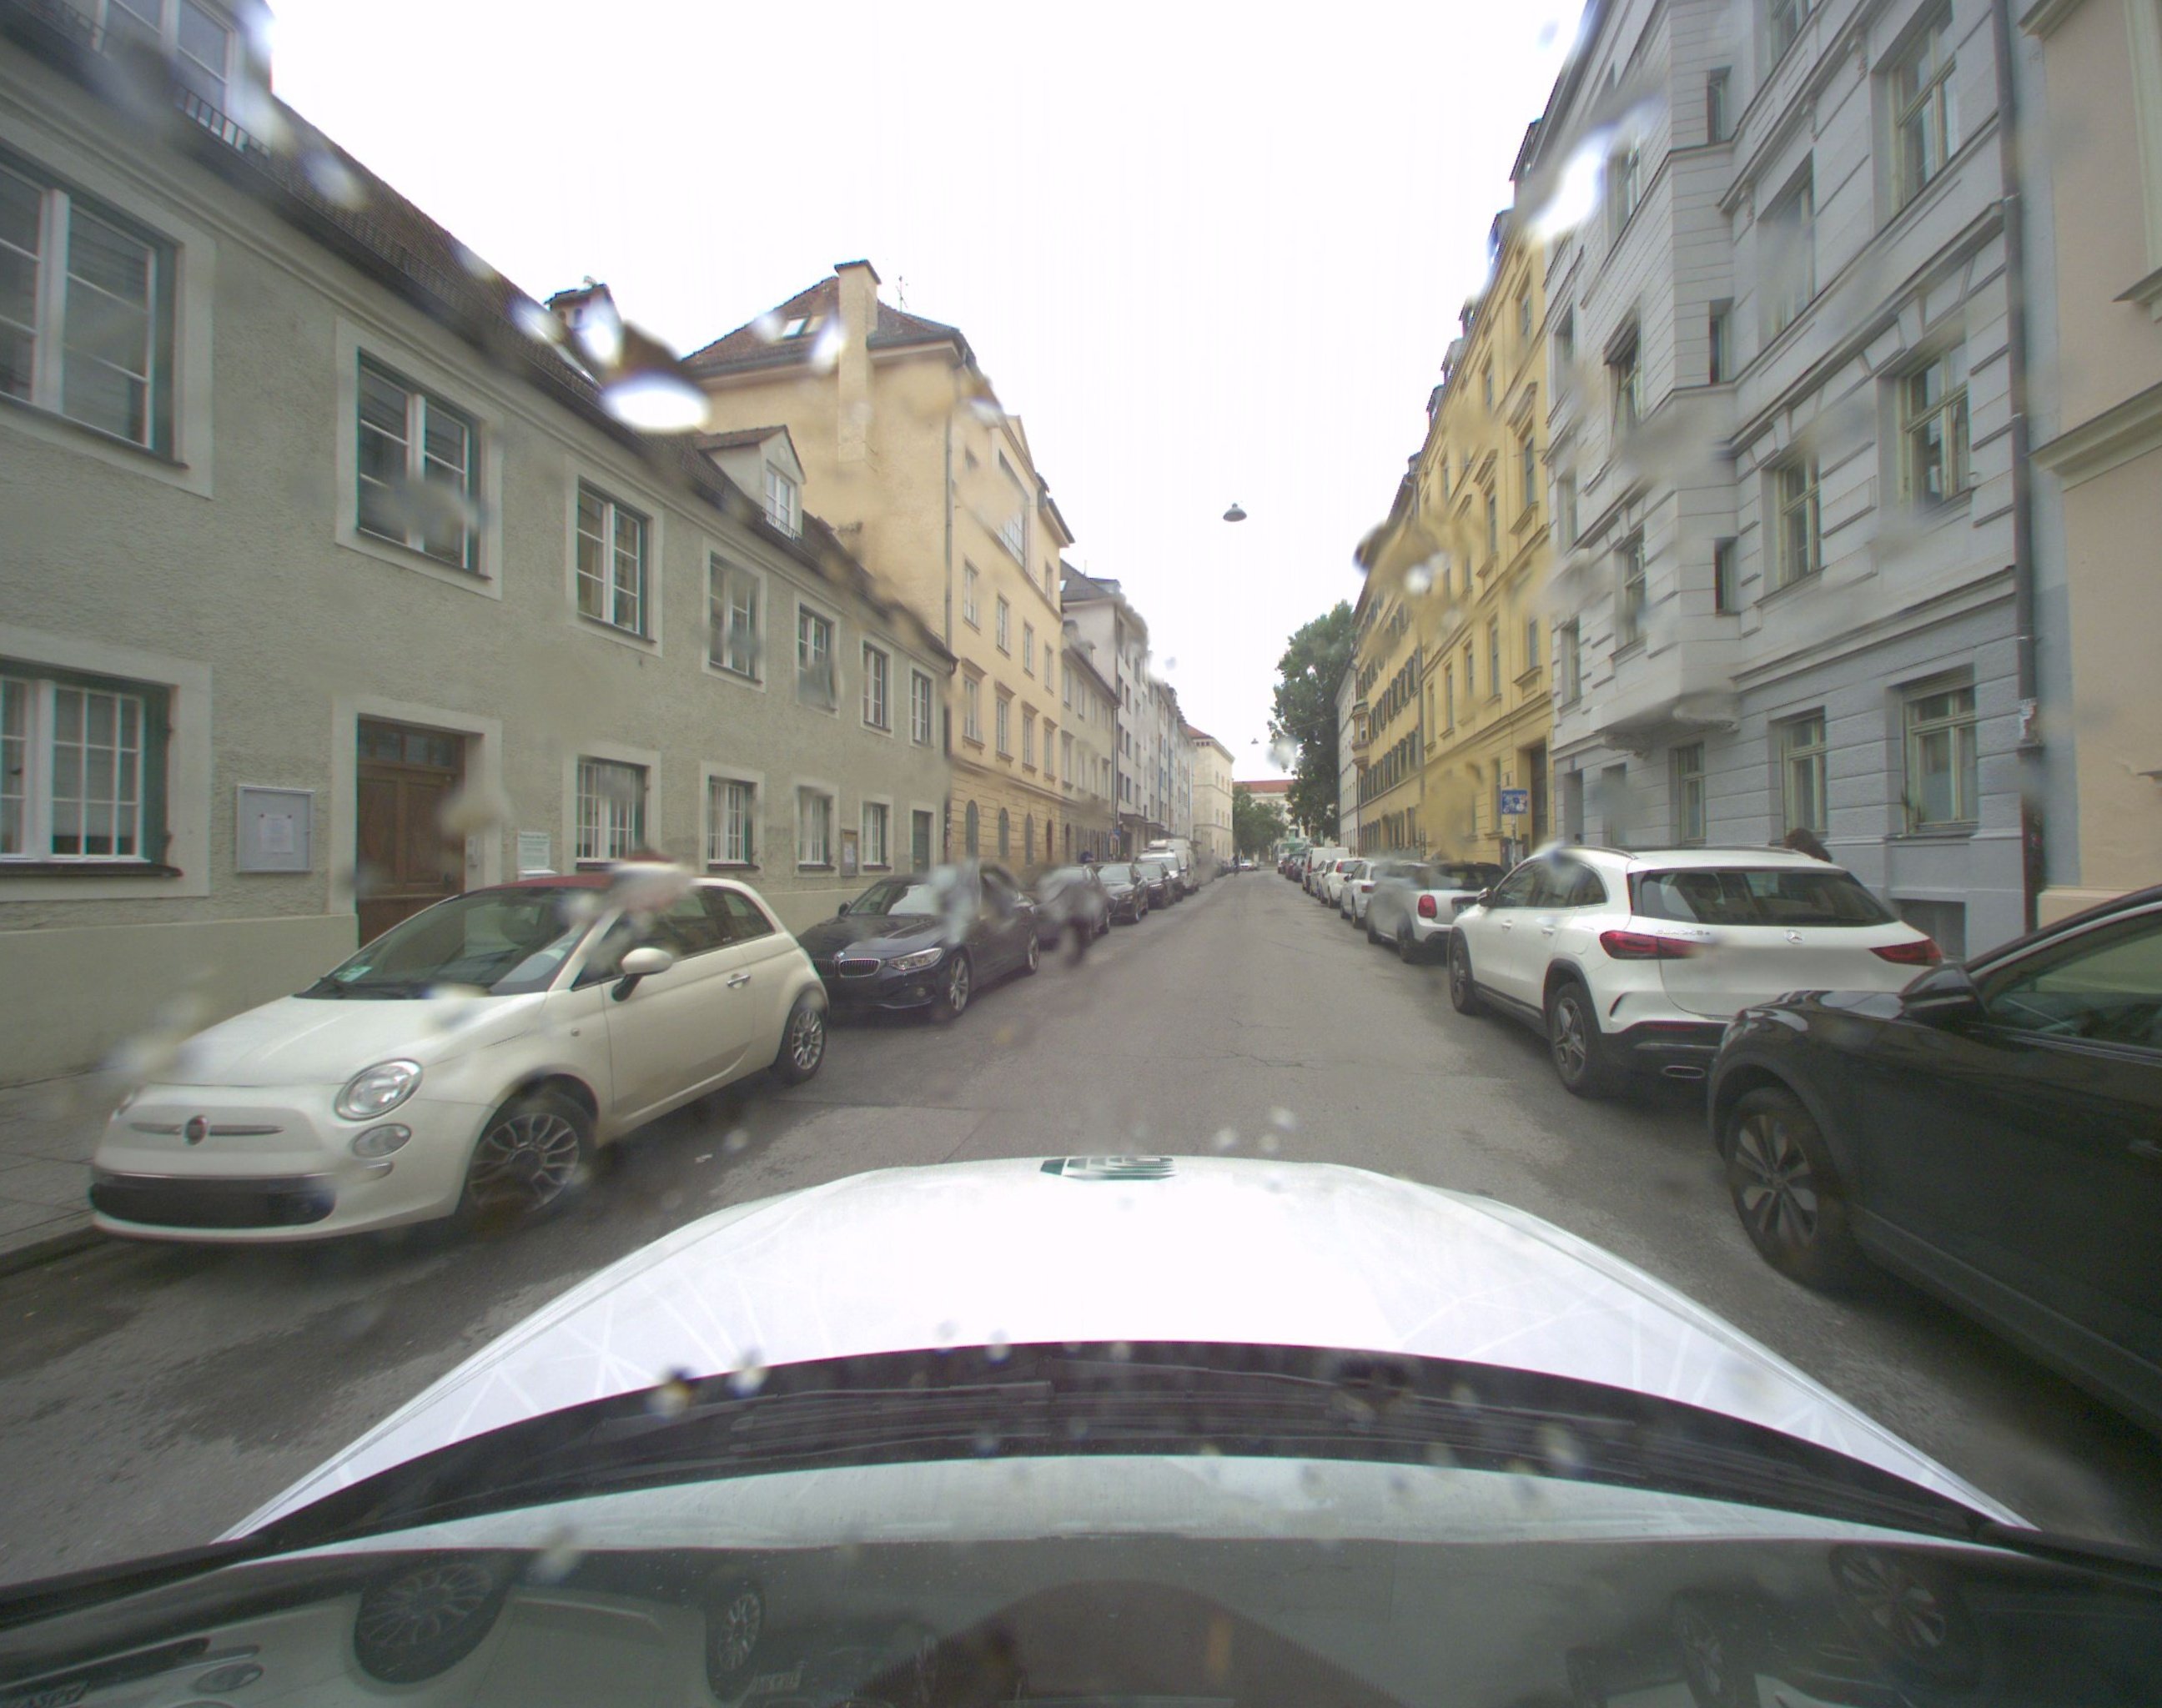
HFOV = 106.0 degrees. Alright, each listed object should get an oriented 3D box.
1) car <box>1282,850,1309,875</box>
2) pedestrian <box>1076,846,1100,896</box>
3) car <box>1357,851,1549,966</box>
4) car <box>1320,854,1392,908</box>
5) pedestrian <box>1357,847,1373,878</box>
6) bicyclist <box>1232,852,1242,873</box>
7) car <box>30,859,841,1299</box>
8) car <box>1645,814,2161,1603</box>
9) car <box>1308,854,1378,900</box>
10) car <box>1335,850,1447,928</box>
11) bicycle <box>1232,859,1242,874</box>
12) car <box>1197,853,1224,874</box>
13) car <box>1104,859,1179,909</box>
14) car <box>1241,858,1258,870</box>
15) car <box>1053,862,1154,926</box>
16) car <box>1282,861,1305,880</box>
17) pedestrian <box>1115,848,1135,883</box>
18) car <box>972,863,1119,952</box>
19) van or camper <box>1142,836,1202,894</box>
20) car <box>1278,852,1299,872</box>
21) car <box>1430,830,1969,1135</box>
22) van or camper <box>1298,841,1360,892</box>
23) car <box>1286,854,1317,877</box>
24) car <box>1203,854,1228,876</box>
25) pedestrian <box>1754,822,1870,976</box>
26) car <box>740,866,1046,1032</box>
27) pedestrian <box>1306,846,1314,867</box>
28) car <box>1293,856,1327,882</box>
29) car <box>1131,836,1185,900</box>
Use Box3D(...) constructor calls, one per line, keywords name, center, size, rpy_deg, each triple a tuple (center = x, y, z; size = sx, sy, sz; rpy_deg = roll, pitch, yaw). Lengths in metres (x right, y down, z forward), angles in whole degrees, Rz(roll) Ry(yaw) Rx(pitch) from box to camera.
Box3D(name="car", center=(16.033, 0.623, 61.090), size=(1.834, 1.776, 4.216), rpy_deg=(2, -1, 13))
Box3D(name="pedestrian", center=(0.275, 0.688, 33.522), size=(0.800, 2.014, 0.753), rpy_deg=(-1, -1, 14))
Box3D(name="car", center=(5.587, 0.737, 12.765), size=(1.707, 1.510, 3.946), rpy_deg=(-1, 0, 9))
Box3D(name="car", center=(8.230, 0.763, 24.652), size=(1.612, 1.510, 3.773), rpy_deg=(-1, 0, 12))
Box3D(name="pedestrian", center=(15.815, 0.477, 45.386), size=(0.593, 1.639, 0.899), rpy_deg=(-4, -1, 10))
Box3D(name="bicyclist", center=(12.157, 0.622, 63.456), size=(0.682, 1.627, 0.855), rpy_deg=(0, 0, 11))
Box3D(name="car", center=(-2.893, 0.792, 4.644), size=(1.559, 1.514, 3.433), rpy_deg=(0, 0, 10))
Box3D(name="car", center=(3.000, 0.693, 1.579), size=(1.705, 1.566, 4.157), rpy_deg=(-1, 0, 13))
Box3D(name="car", center=(9.341, 0.780, 29.390), size=(1.804, 1.510, 4.601), rpy_deg=(-1, 0, 10))
Box3D(name="car", center=(6.762, 0.701, 18.197), size=(1.705, 1.510, 4.484), rpy_deg=(-1, 0, 12))
Box3D(name="bicycle", center=(12.136, 0.941, 63.414), size=(0.727, 1.151, 2.006), rpy_deg=(0, 0, 11))
Box3D(name="car", center=(10.182, 0.748, 63.827), size=(1.761, 1.539, 4.173), rpy_deg=(-2, 0, 12))
Box3D(name="car", center=(1.985, 0.867, 25.443), size=(1.845, 1.401, 4.282), rpy_deg=(0, 0, 11))
Box3D(name="car", center=(22.748, 1.418, 109.942), size=(1.764, 1.535, 4.230), rpy_deg=(-2, -2, 17))
Box3D(name="car", center=(0.683, 0.910, 20.392), size=(1.845, 1.401, 4.282), rpy_deg=(0, 0, 11))
Box3D(name="car", center=(19.415, 1.474, 74.461), size=(1.796, 1.600, 4.228), rpy_deg=(0, 0, 11))
Box3D(name="pedestrian", center=(2.246, 0.568, 41.273), size=(0.800, 1.712, 1.025), rpy_deg=(-1, 0, 14))
Box3D(name="car", center=(-0.494, 0.891, 15.461), size=(1.845, 1.401, 4.282), rpy_deg=(0, 0, 11))
Box3D(name="van or camper", center=(4.068, 0.455, 35.589), size=(1.980, 2.311, 5.497), rpy_deg=(-2, 0, 12))
Box3D(name="car", center=(20.508, 0.768, 80.460), size=(1.868, 1.924, 4.893), rpy_deg=(-1, -1, 15))
Box3D(name="car", center=(4.224, 0.695, 6.559), size=(1.706, 1.601, 4.336), rpy_deg=(-1, 0, 11))
Box3D(name="van or camper", center=(10.445, 0.505, 34.639), size=(1.980, 2.014, 5.249), rpy_deg=(-1, 0, 12))
Box3D(name="car", center=(14.693, 0.769, 54.348), size=(1.702, 1.424, 4.471), rpy_deg=(-1, -1, 11))
Box3D(name="car", center=(11.428, 0.888, 68.951), size=(1.860, 1.688, 4.535), rpy_deg=(-2, 0, 12))
Box3D(name="pedestrian", center=(7.841, 0.474, 8.771), size=(0.640, 1.575, 0.627), rpy_deg=(-3, -1, 15))
Box3D(name="car", center=(-1.804, 0.868, 9.396), size=(1.845, 1.401, 4.282), rpy_deg=(0, 0, 11))
Box3D(name="pedestrian", center=(23.629, 0.273, 84.030), size=(0.788, 2.197, 0.816), rpy_deg=(0, -1, 12))
Box3D(name="car", center=(13.652, 0.861, 48.745), size=(1.734, 1.464, 4.014), rpy_deg=(-1, 0, 12))
Box3D(name="car", center=(2.931, 0.485, 30.224), size=(1.847, 2.201, 4.570), rpy_deg=(0, 0, 7))
